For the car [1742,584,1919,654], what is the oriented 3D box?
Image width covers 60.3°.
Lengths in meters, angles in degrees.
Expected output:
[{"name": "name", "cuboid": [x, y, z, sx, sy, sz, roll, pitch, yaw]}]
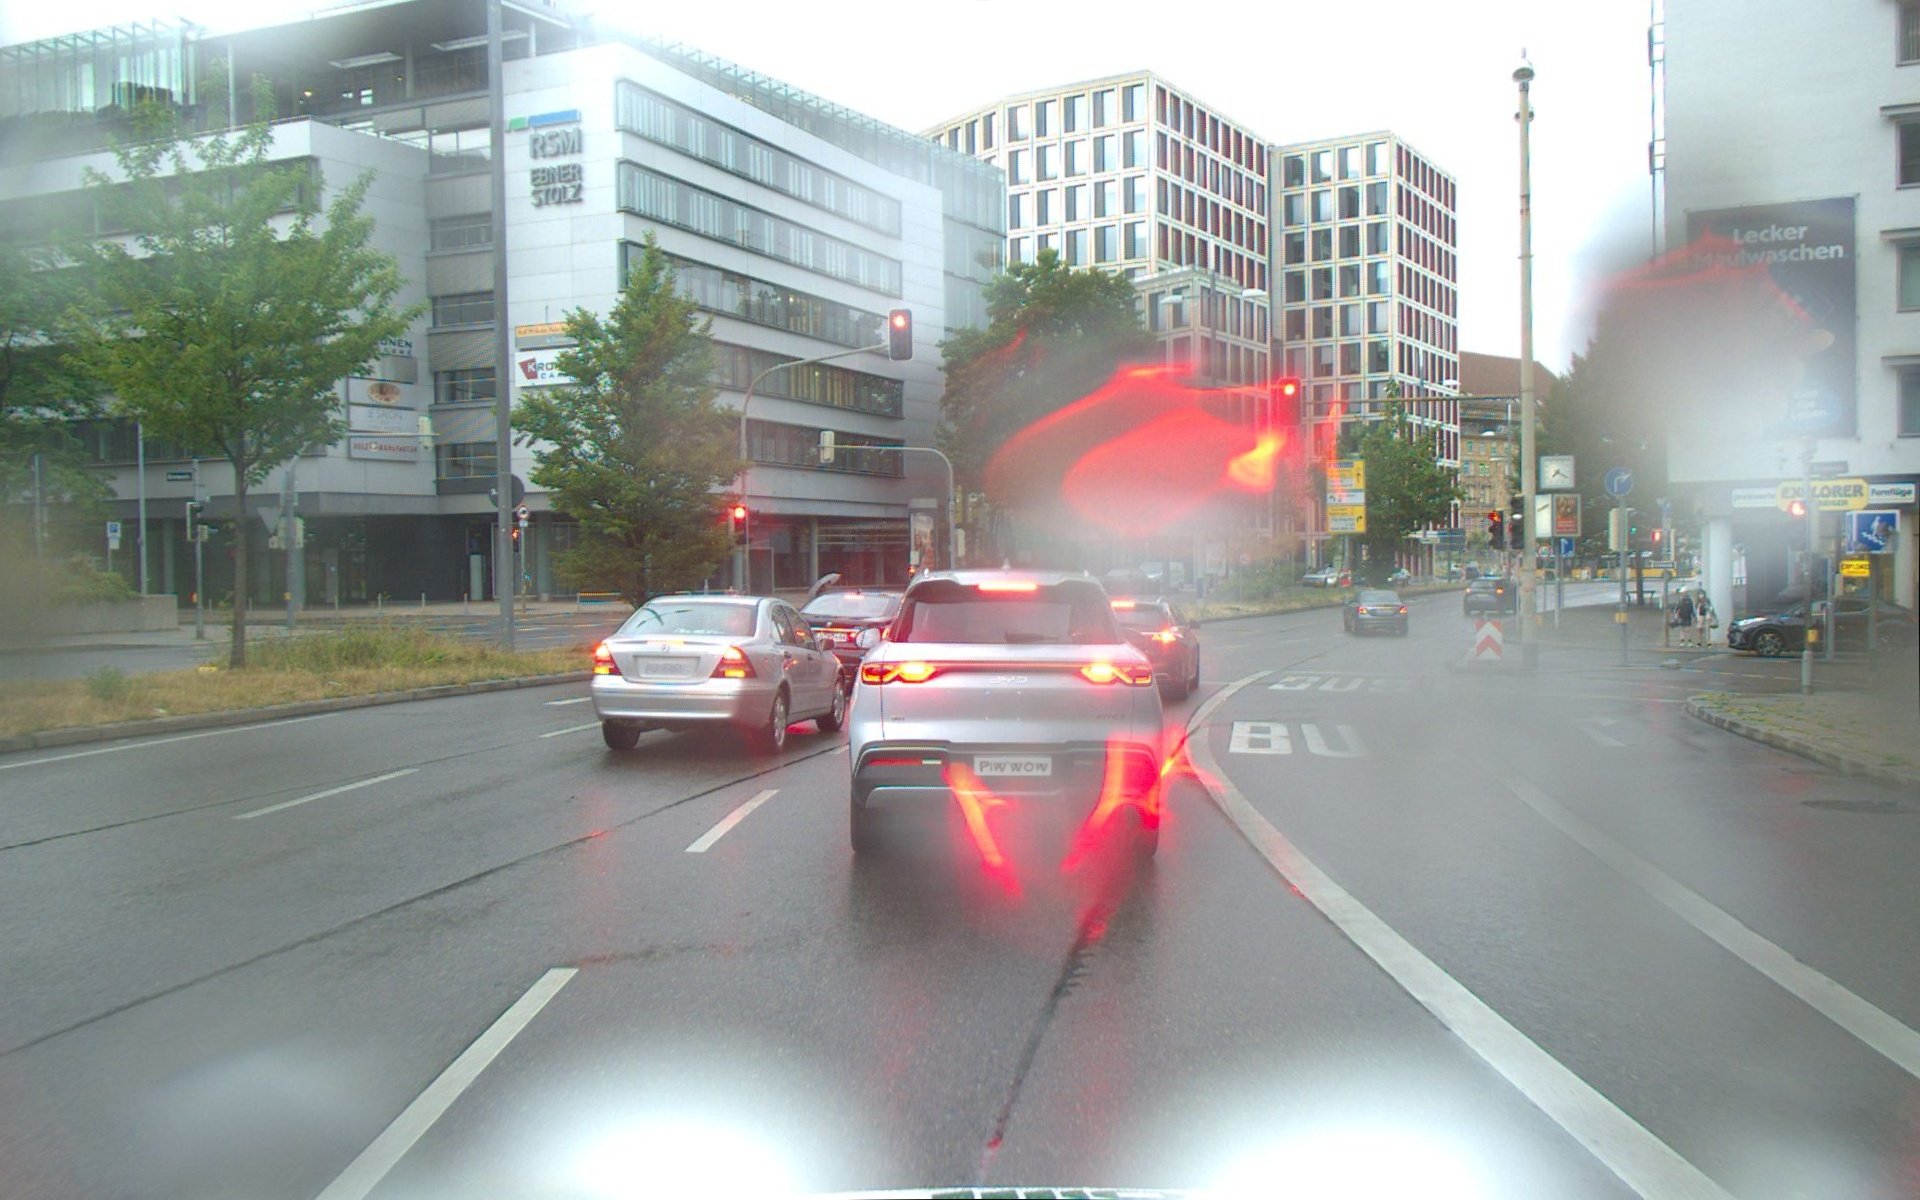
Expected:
[{"name": "car", "cuboid": [21.560, 0.435, 40.861, 3.905, 1.579, 2.000, 2, 1, 22]}]

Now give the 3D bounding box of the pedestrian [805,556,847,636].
[{"name": "pedestrian", "cuboid": [-3.007, -0.090, 37.171, 0.903, 1.768, 0.729, 0, 0, -2]}]

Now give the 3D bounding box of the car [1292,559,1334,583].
[{"name": "car", "cuboid": [27.247, -2.231, 127.640, 1.956, 1.735, 4.301, 1, 3, 30]}]

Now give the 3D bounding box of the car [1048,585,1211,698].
[{"name": "car", "cuboid": [2.652, 0.557, 25.046, 1.913, 1.556, 4.003, 0, 1, 14]}]

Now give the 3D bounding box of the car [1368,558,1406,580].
[{"name": "car", "cuboid": [34.984, -2.572, 135.464, 1.957, 1.735, 3.992, 1, 3, 31]}]

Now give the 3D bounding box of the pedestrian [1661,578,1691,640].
[{"name": "pedestrian", "cuboid": [19.770, 0.237, 45.664, 0.712, 1.698, 0.691, 0, -1, 19]}]

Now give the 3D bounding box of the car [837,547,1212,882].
[{"name": "car", "cuboid": [0.322, 0.570, 10.861, 1.953, 1.739, 4.482, 0, 1, 0]}]

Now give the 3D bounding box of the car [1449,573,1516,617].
[{"name": "car", "cuboid": [22.391, -0.226, 70.832, 2.007, 1.796, 4.351, 2, 1, 27]}]

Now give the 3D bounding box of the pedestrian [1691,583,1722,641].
[{"name": "pedestrian", "cuboid": [20.447, 0.328, 45.323, 0.712, 1.551, 0.760, 0, -1, 19]}]

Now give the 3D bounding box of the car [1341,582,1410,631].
[{"name": "car", "cuboid": [13.848, 0.188, 55.307, 1.869, 1.536, 4.360, 1, 1, 9]}]

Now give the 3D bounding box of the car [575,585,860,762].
[{"name": "car", "cuboid": [-2.249, 0.619, 16.475, 1.646, 1.512, 4.200, 0, 1, 9]}]

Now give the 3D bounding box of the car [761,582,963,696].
[{"name": "car", "cuboid": [-1.361, 0.513, 24.751, 1.913, 1.556, 4.003, 0, 1, 14]}]

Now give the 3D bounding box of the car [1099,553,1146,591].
[{"name": "car", "cuboid": [9.797, -1.683, 99.369, 1.701, 2.199, 4.494, 1, 1, 21]}]
